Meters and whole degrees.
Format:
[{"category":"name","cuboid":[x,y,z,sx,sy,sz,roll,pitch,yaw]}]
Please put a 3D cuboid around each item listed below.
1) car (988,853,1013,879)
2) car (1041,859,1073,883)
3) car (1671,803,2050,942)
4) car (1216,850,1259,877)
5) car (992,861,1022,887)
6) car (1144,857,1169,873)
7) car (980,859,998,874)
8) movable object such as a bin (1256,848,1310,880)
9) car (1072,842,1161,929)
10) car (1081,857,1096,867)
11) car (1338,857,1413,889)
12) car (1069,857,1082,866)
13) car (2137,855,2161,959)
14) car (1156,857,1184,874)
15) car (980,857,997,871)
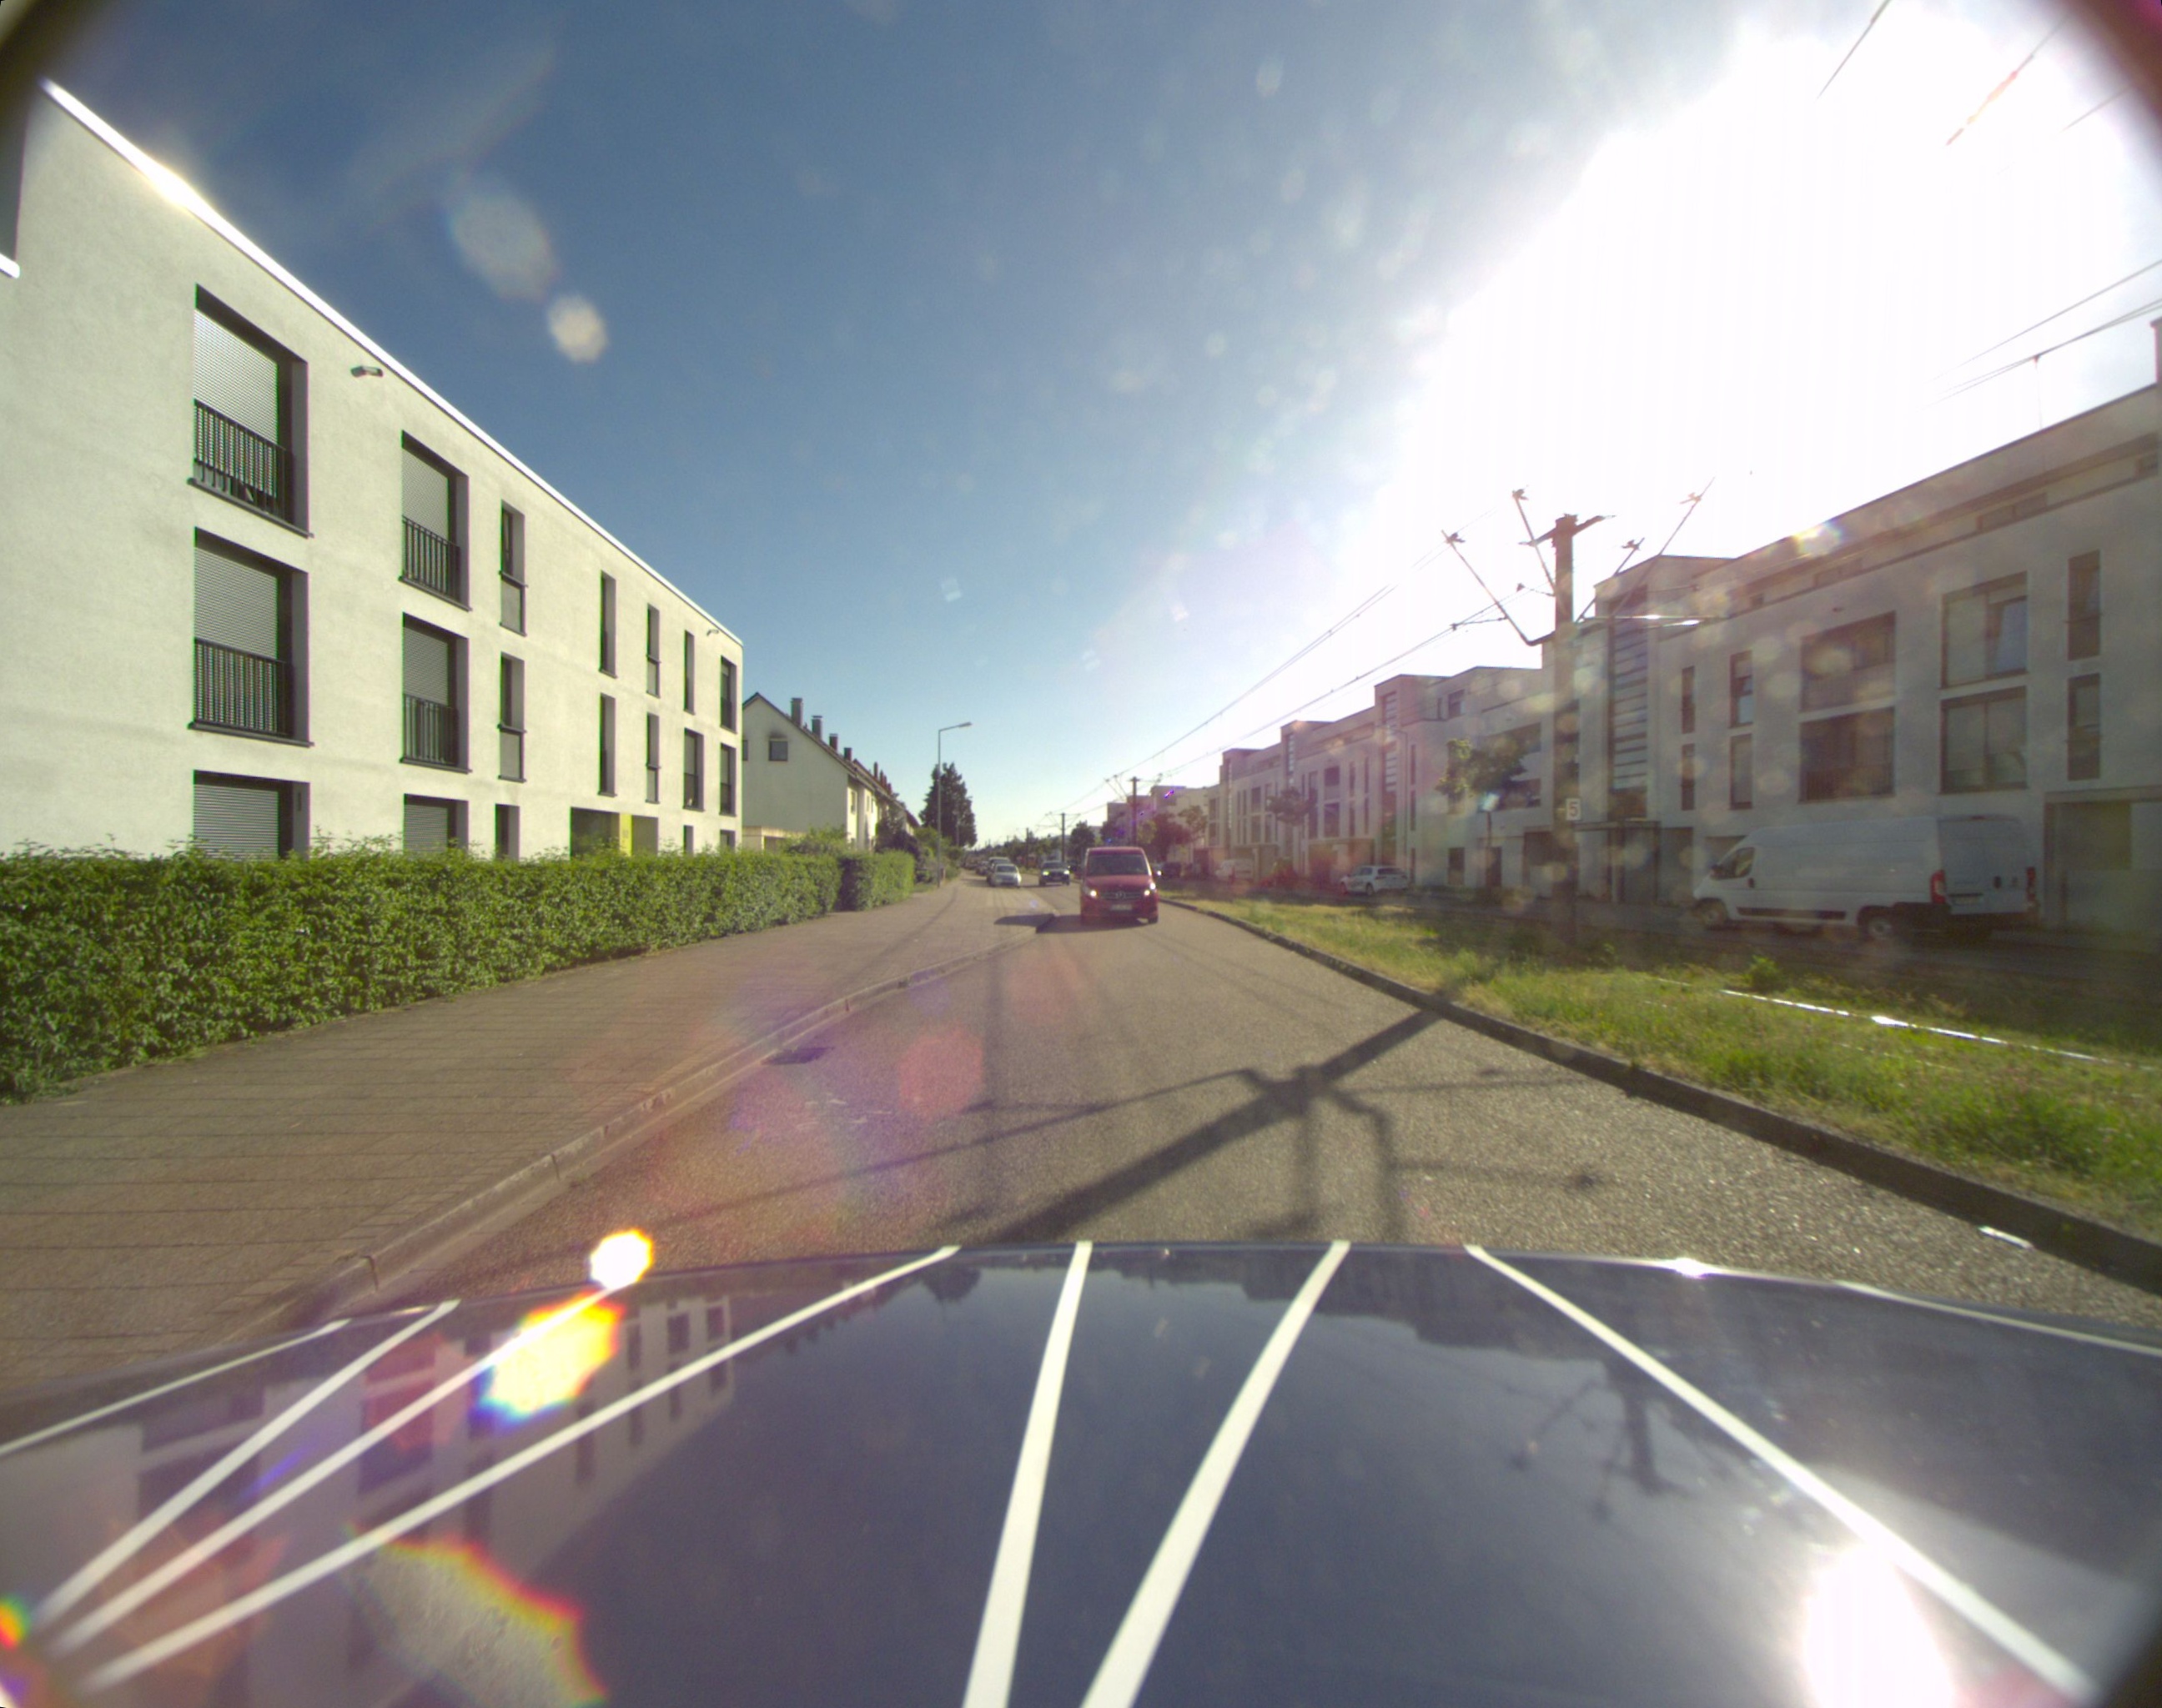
[{"category":"car","cuboid":[-6.600,0.961,62.323,1.894,1.951,4.011,1,0,-5]},{"category":"car","cuboid":[-1.664,1.146,51.323,1.894,1.506,3.752,1,0,-5]},{"category":"car","cuboid":[16.293,0.338,16.522,2.146,2.430,5.587,-2,0,-6]},{"category":"car","cuboid":[11.725,0.714,57.135,1.767,1.859,4.154,-2,0,-8]},{"category":"car","cuboid":[-4.535,1.182,46.700,1.700,1.466,4.011,1,0,-5]},{"category":"car","cuboid":[8.120,1.162,82.250,1.767,1.590,4.154,-2,0,-8]},{"category":"car","cuboid":[-9.630,1.295,79.692,1.700,1.466,4.011,1,0,-5]},{"category":"movable object such as a bin","cuboid":[12.819,0.614,48.438,1.767,1.926,4.154,-2,0,-8]},{"category":"car","cuboid":[0.857,0.732,20.127,1.980,1.922,5.205,-2,0,1]},{"category":"car","cuboid":[1.181,1.271,121.722,1.767,1.590,4.154,-2,0,-8]},{"category":"car","cuboid":[14.202,0.892,36.862,1.522,1.423,4.154,-2,0,-8]},{"category":"car","cuboid":[-0.972,1.369,137.259,1.767,1.590,4.154,-2,0,-8]},{"category":"car","cuboid":[16.987,0.748,9.607,1.829,1.528,3.840,-2,0,-4]},{"category":"car","cuboid":[8.941,1.119,76.664,1.767,1.590,4.154,-2,0,-8]},{"category":"car","cuboid":[-10.502,1.133,86.456,1.700,1.604,4.011,1,0,-5]}]
